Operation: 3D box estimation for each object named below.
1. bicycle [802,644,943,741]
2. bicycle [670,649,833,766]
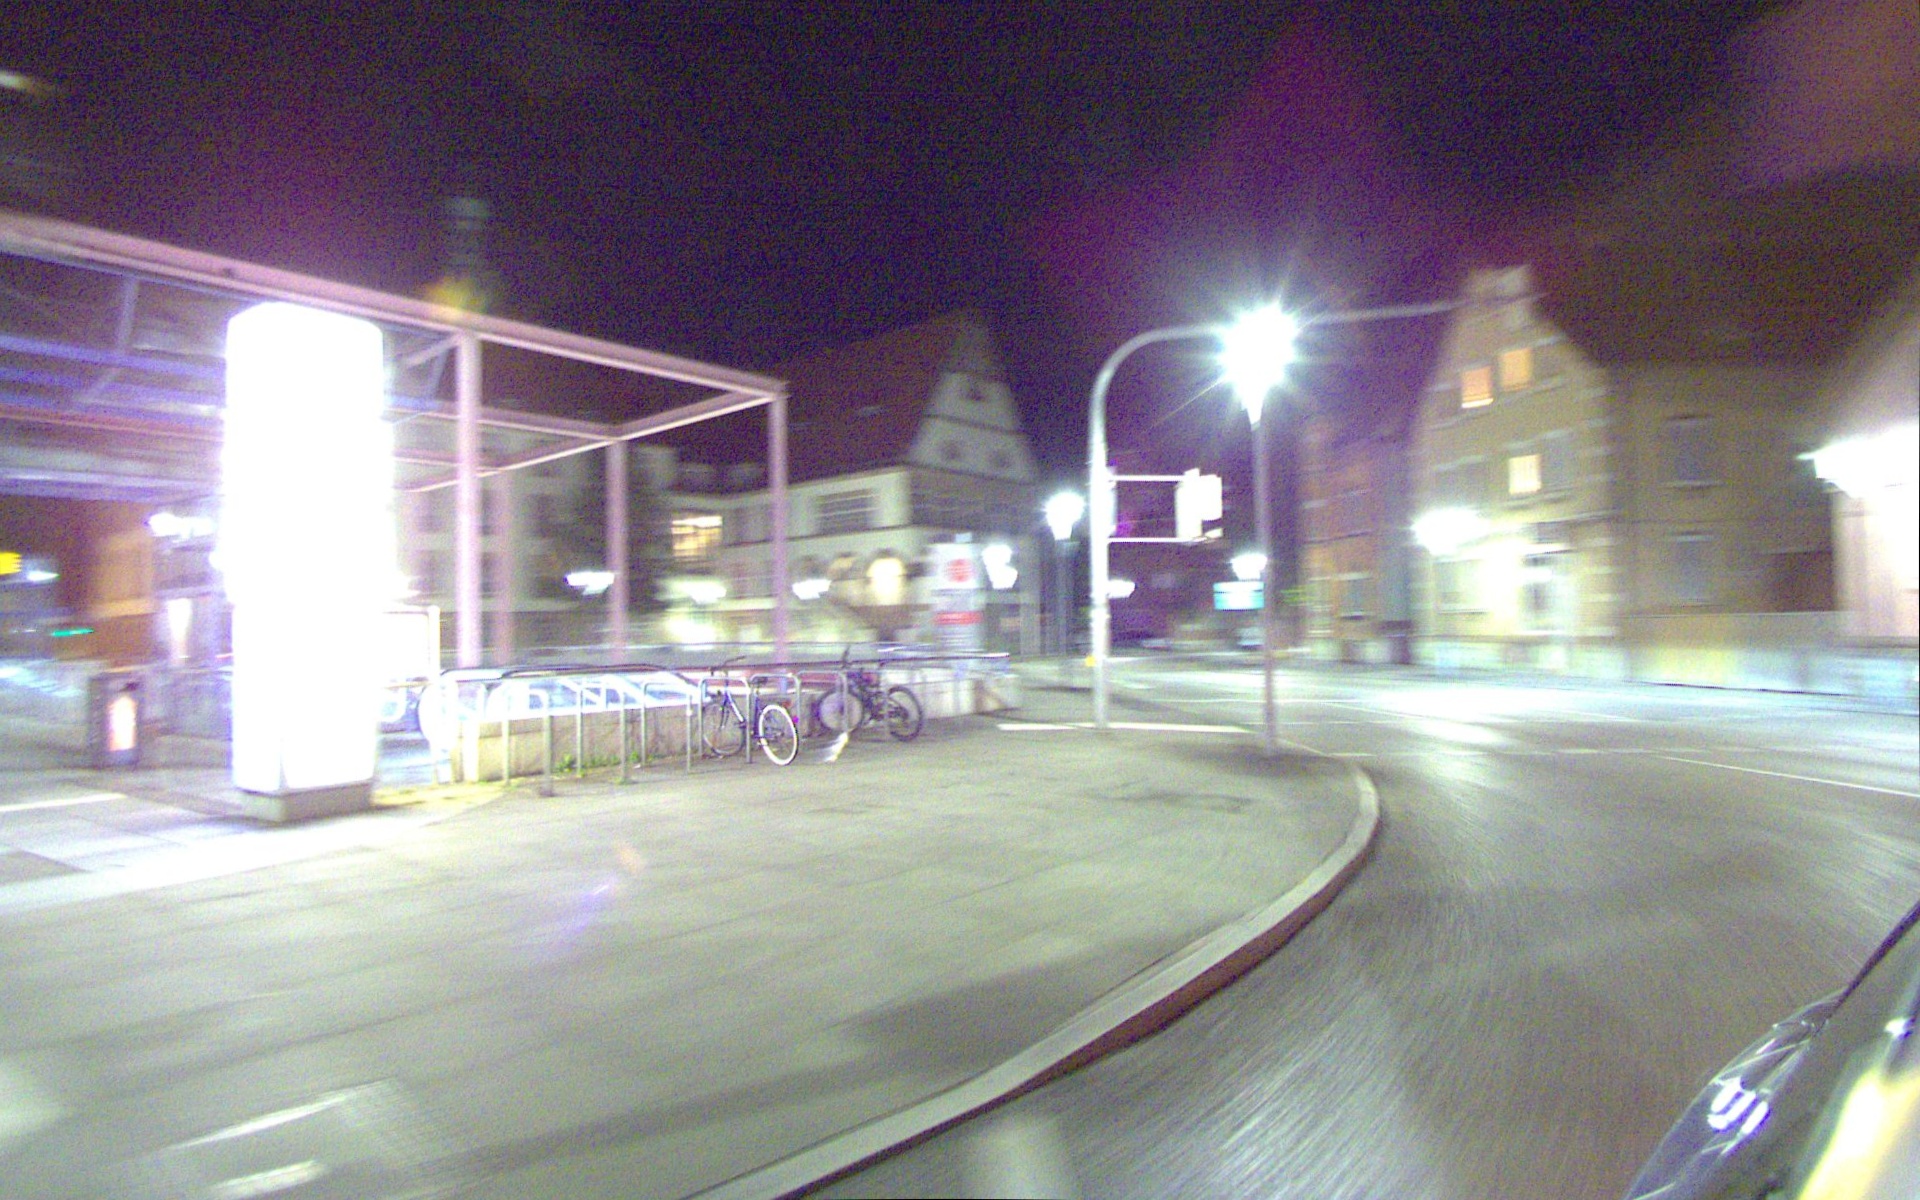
[{"bbox_3d":[-1.136,1.144,12.918,1.790,1.143,0.642,-2,-2,34],"label":"bicycle"},{"bbox_3d":[-2.239,1.097,10.760,1.790,1.143,0.642,-2,-2,34],"label":"bicycle"}]
